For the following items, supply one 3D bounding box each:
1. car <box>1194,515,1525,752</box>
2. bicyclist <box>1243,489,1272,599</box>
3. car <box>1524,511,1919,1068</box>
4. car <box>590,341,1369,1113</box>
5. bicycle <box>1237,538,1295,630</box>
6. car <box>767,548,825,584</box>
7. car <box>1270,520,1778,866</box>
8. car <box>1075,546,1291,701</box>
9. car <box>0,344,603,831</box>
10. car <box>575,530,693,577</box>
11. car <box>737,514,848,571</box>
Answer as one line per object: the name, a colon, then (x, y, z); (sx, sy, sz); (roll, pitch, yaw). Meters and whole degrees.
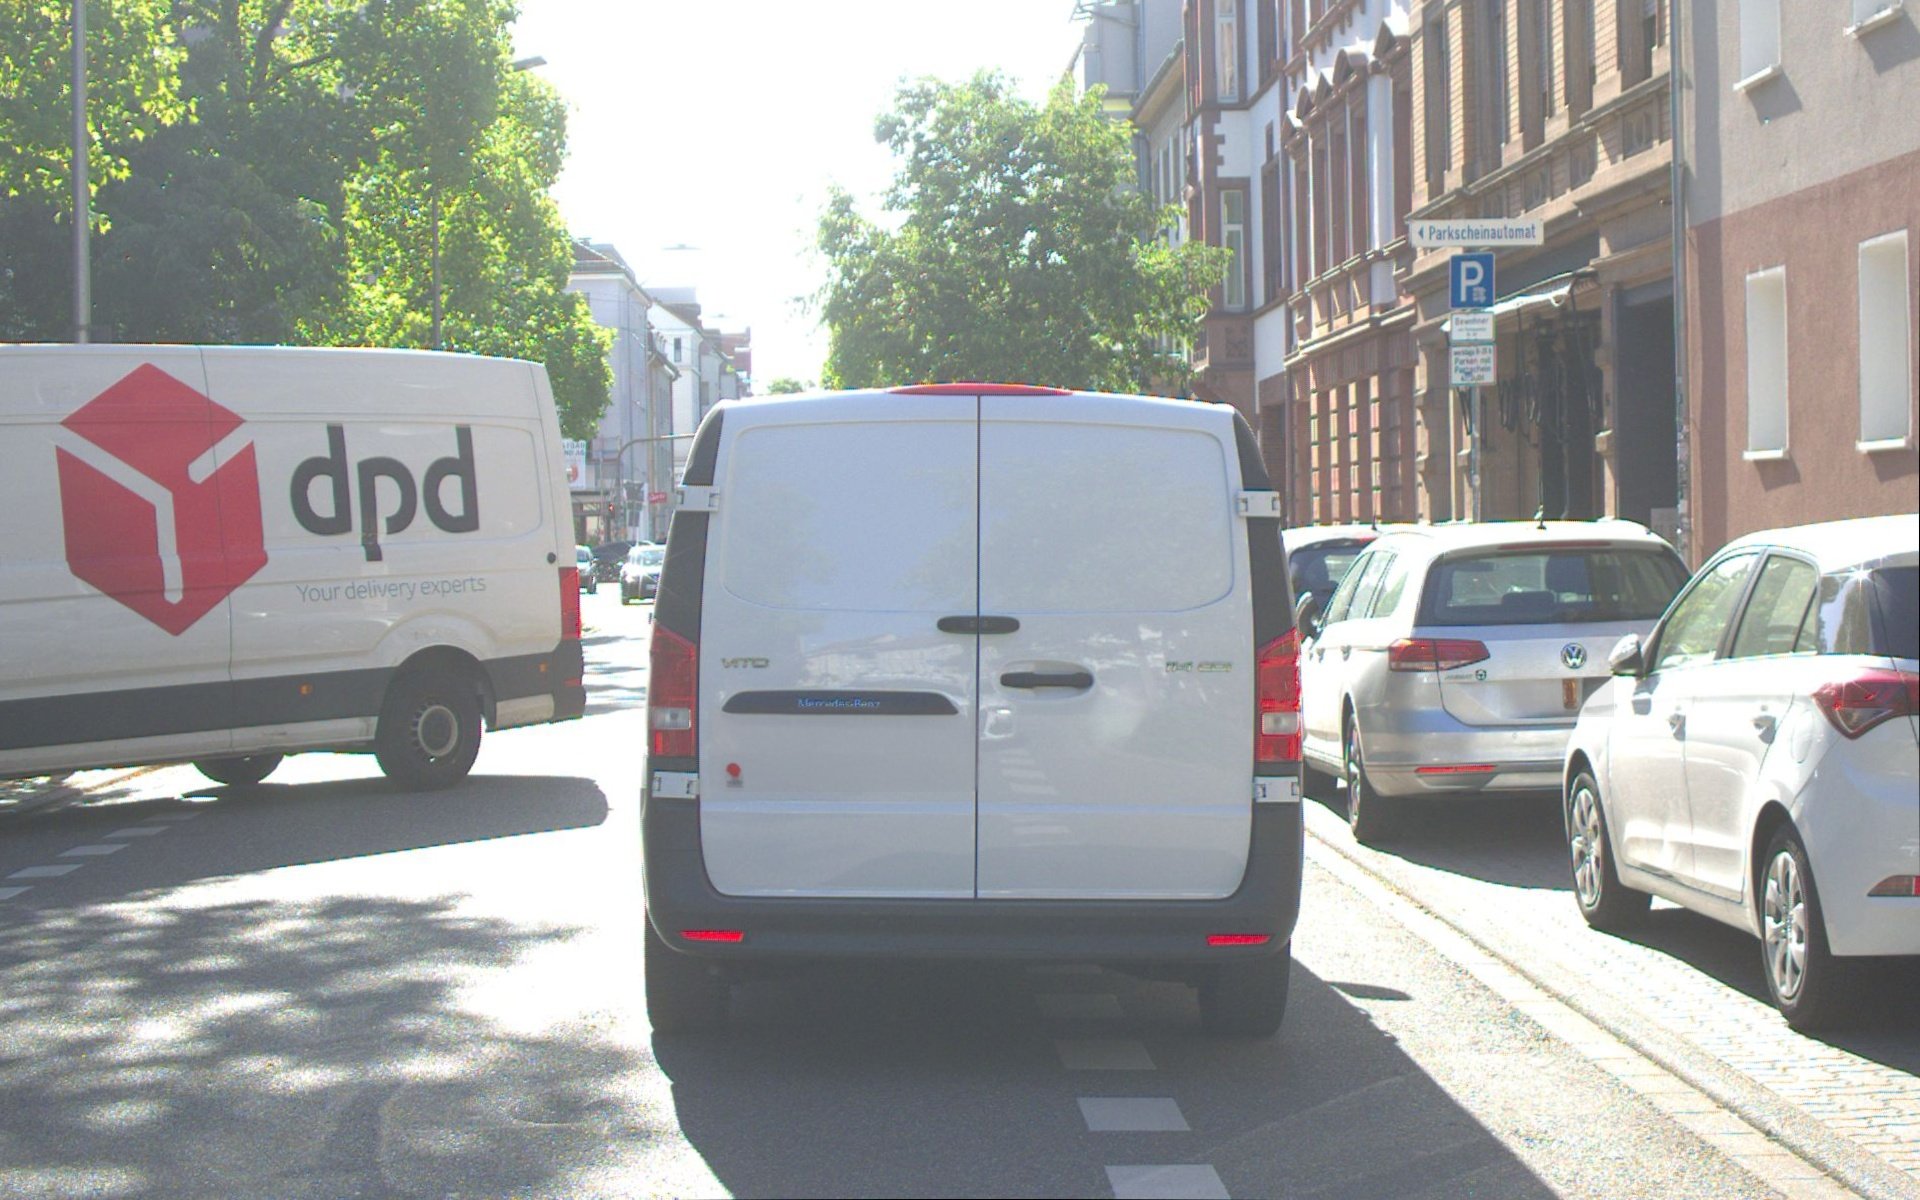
car: (2.666, 0.181, 23.695); (1.709, 1.475, 3.711); (-1, 1, -2)
bicyclist: (4.030, -0.760, 46.561); (0.361, 1.472, 0.530); (0, 1, 2)
car: (3.152, 0.462, 11.296); (1.731, 1.481, 3.795); (-2, 1, -3)
car: (-0.039, 0.265, 10.970); (1.920, 1.907, 4.888); (0, 1, -2)
bicycle: (4.124, -0.215, 46.380); (0.536, 1.145, 2.124); (-9, 0, 3)
car: (-4.710, -0.994, 98.830); (1.610, 0.963, 4.001); (-1, 1, -3)
car: (2.677, 0.365, 17.327); (1.785, 1.455, 4.517); (-2, 1, 0)
car: (2.208, 0.191, 34.935); (1.738, 1.446, 4.001); (-1, 1, -3)
car: (-5.040, -0.091, 18.764); (1.998, 2.465, 6.589); (0, 2, 40)
car: (-11.682, -1.681, 123.077); (3.986, 1.634, 2.001); (-1, 1, -12)
car: (-6.126, -2.123, 126.195); (3.987, 2.007, 2.000); (-1, 1, -1)
